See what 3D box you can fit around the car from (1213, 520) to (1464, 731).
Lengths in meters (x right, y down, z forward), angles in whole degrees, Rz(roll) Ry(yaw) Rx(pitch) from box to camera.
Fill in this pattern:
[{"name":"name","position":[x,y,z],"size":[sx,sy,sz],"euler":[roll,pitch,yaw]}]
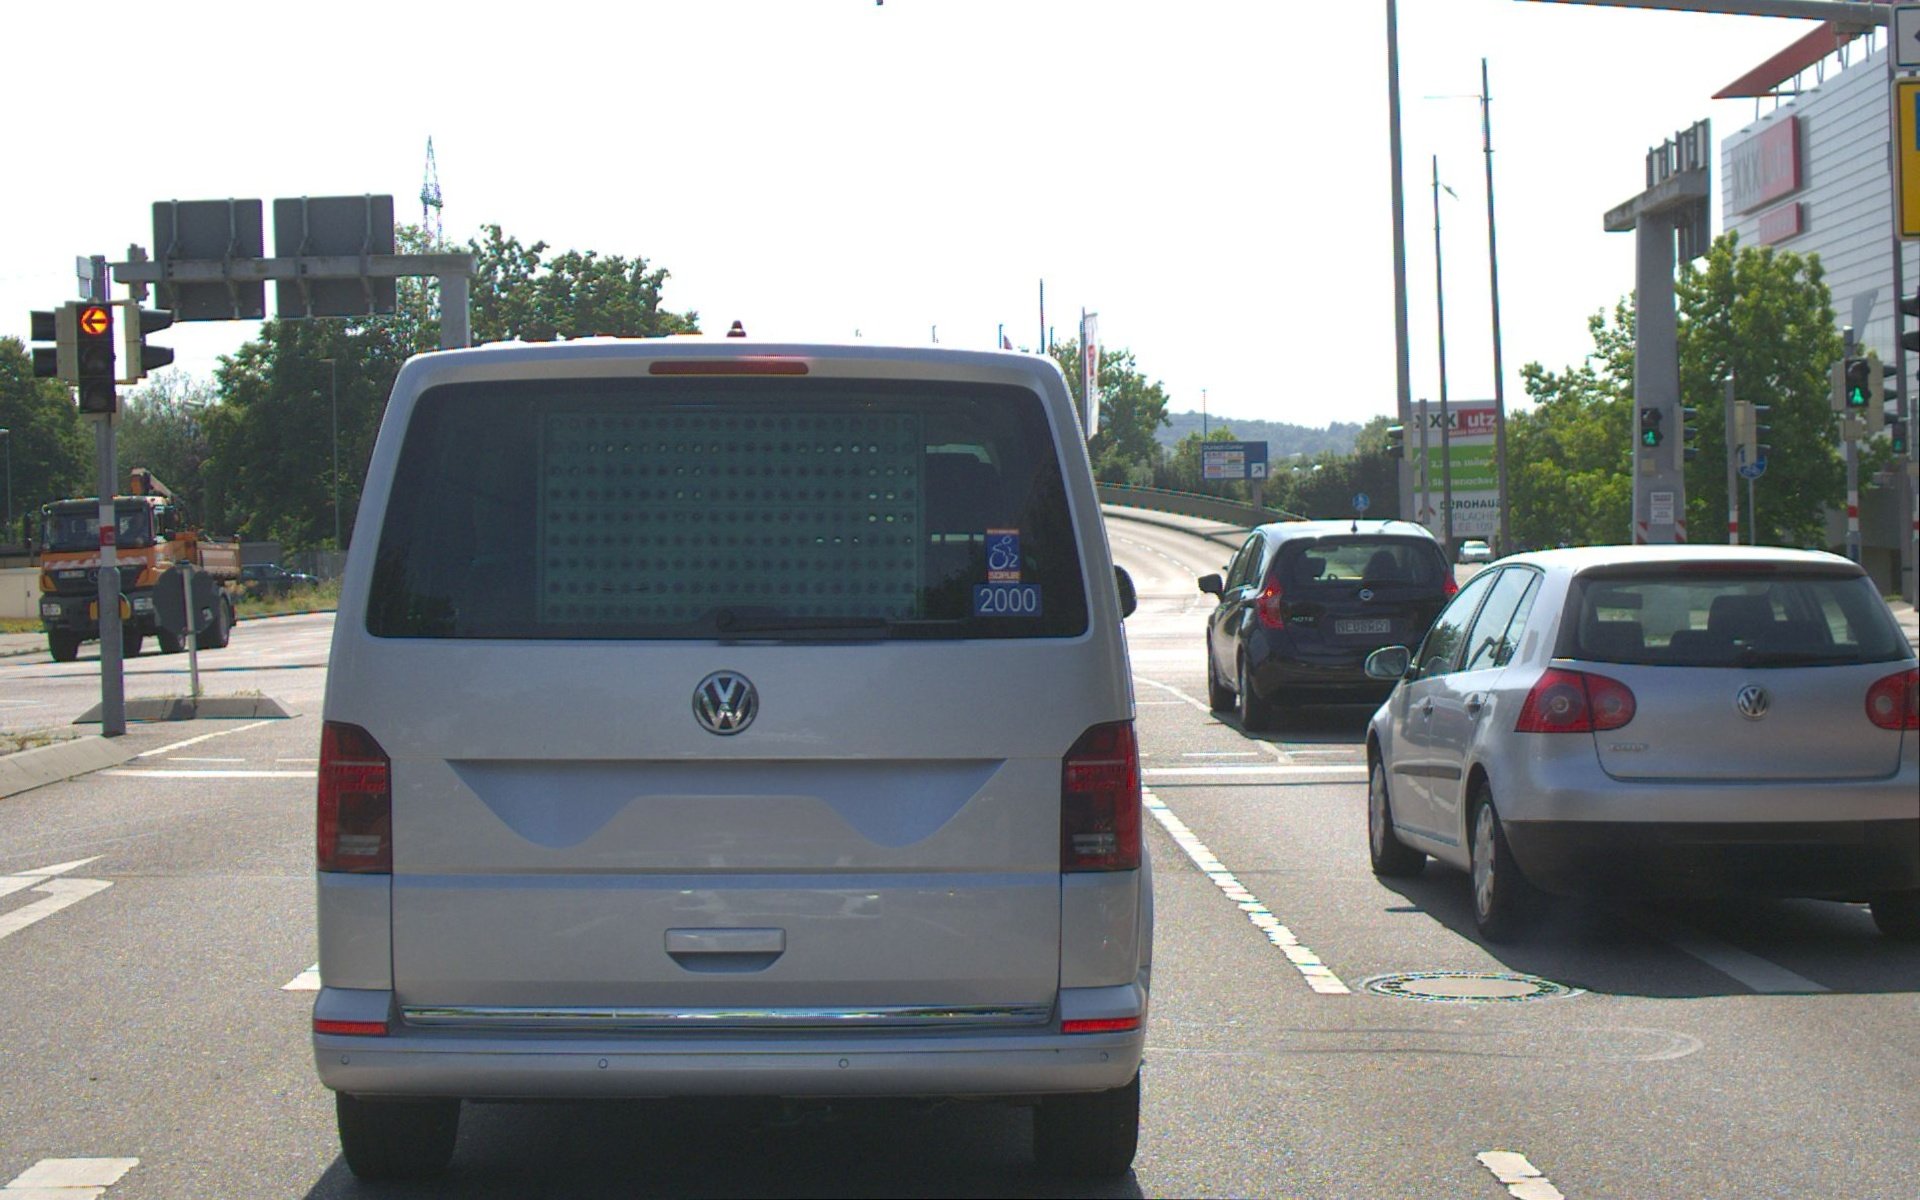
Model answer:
[{"name":"car","position":[2.771,0.144,25.795],"size":[1.531,1.475,3.596],"euler":[0,1,1]}]

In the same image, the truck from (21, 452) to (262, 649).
[{"name":"truck","position":[-16.380,-1.021,69.375],"size":[2.746,3.667,7.579],"euler":[-2,1,2]}]

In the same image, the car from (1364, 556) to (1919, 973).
[{"name":"car","position":[2.715,0.543,13.706],"size":[1.666,1.409,3.683],"euler":[0,1,-2]}]

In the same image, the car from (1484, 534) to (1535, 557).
[{"name":"car","position":[34.580,-3.426,216.389],"size":[1.993,1.415,4.001],"euler":[1,0,-9]}]

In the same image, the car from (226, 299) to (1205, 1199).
[{"name":"car","position":[-0.513,0.356,8.900],"size":[1.917,1.968,4.297],"euler":[0,1,-1]}]
